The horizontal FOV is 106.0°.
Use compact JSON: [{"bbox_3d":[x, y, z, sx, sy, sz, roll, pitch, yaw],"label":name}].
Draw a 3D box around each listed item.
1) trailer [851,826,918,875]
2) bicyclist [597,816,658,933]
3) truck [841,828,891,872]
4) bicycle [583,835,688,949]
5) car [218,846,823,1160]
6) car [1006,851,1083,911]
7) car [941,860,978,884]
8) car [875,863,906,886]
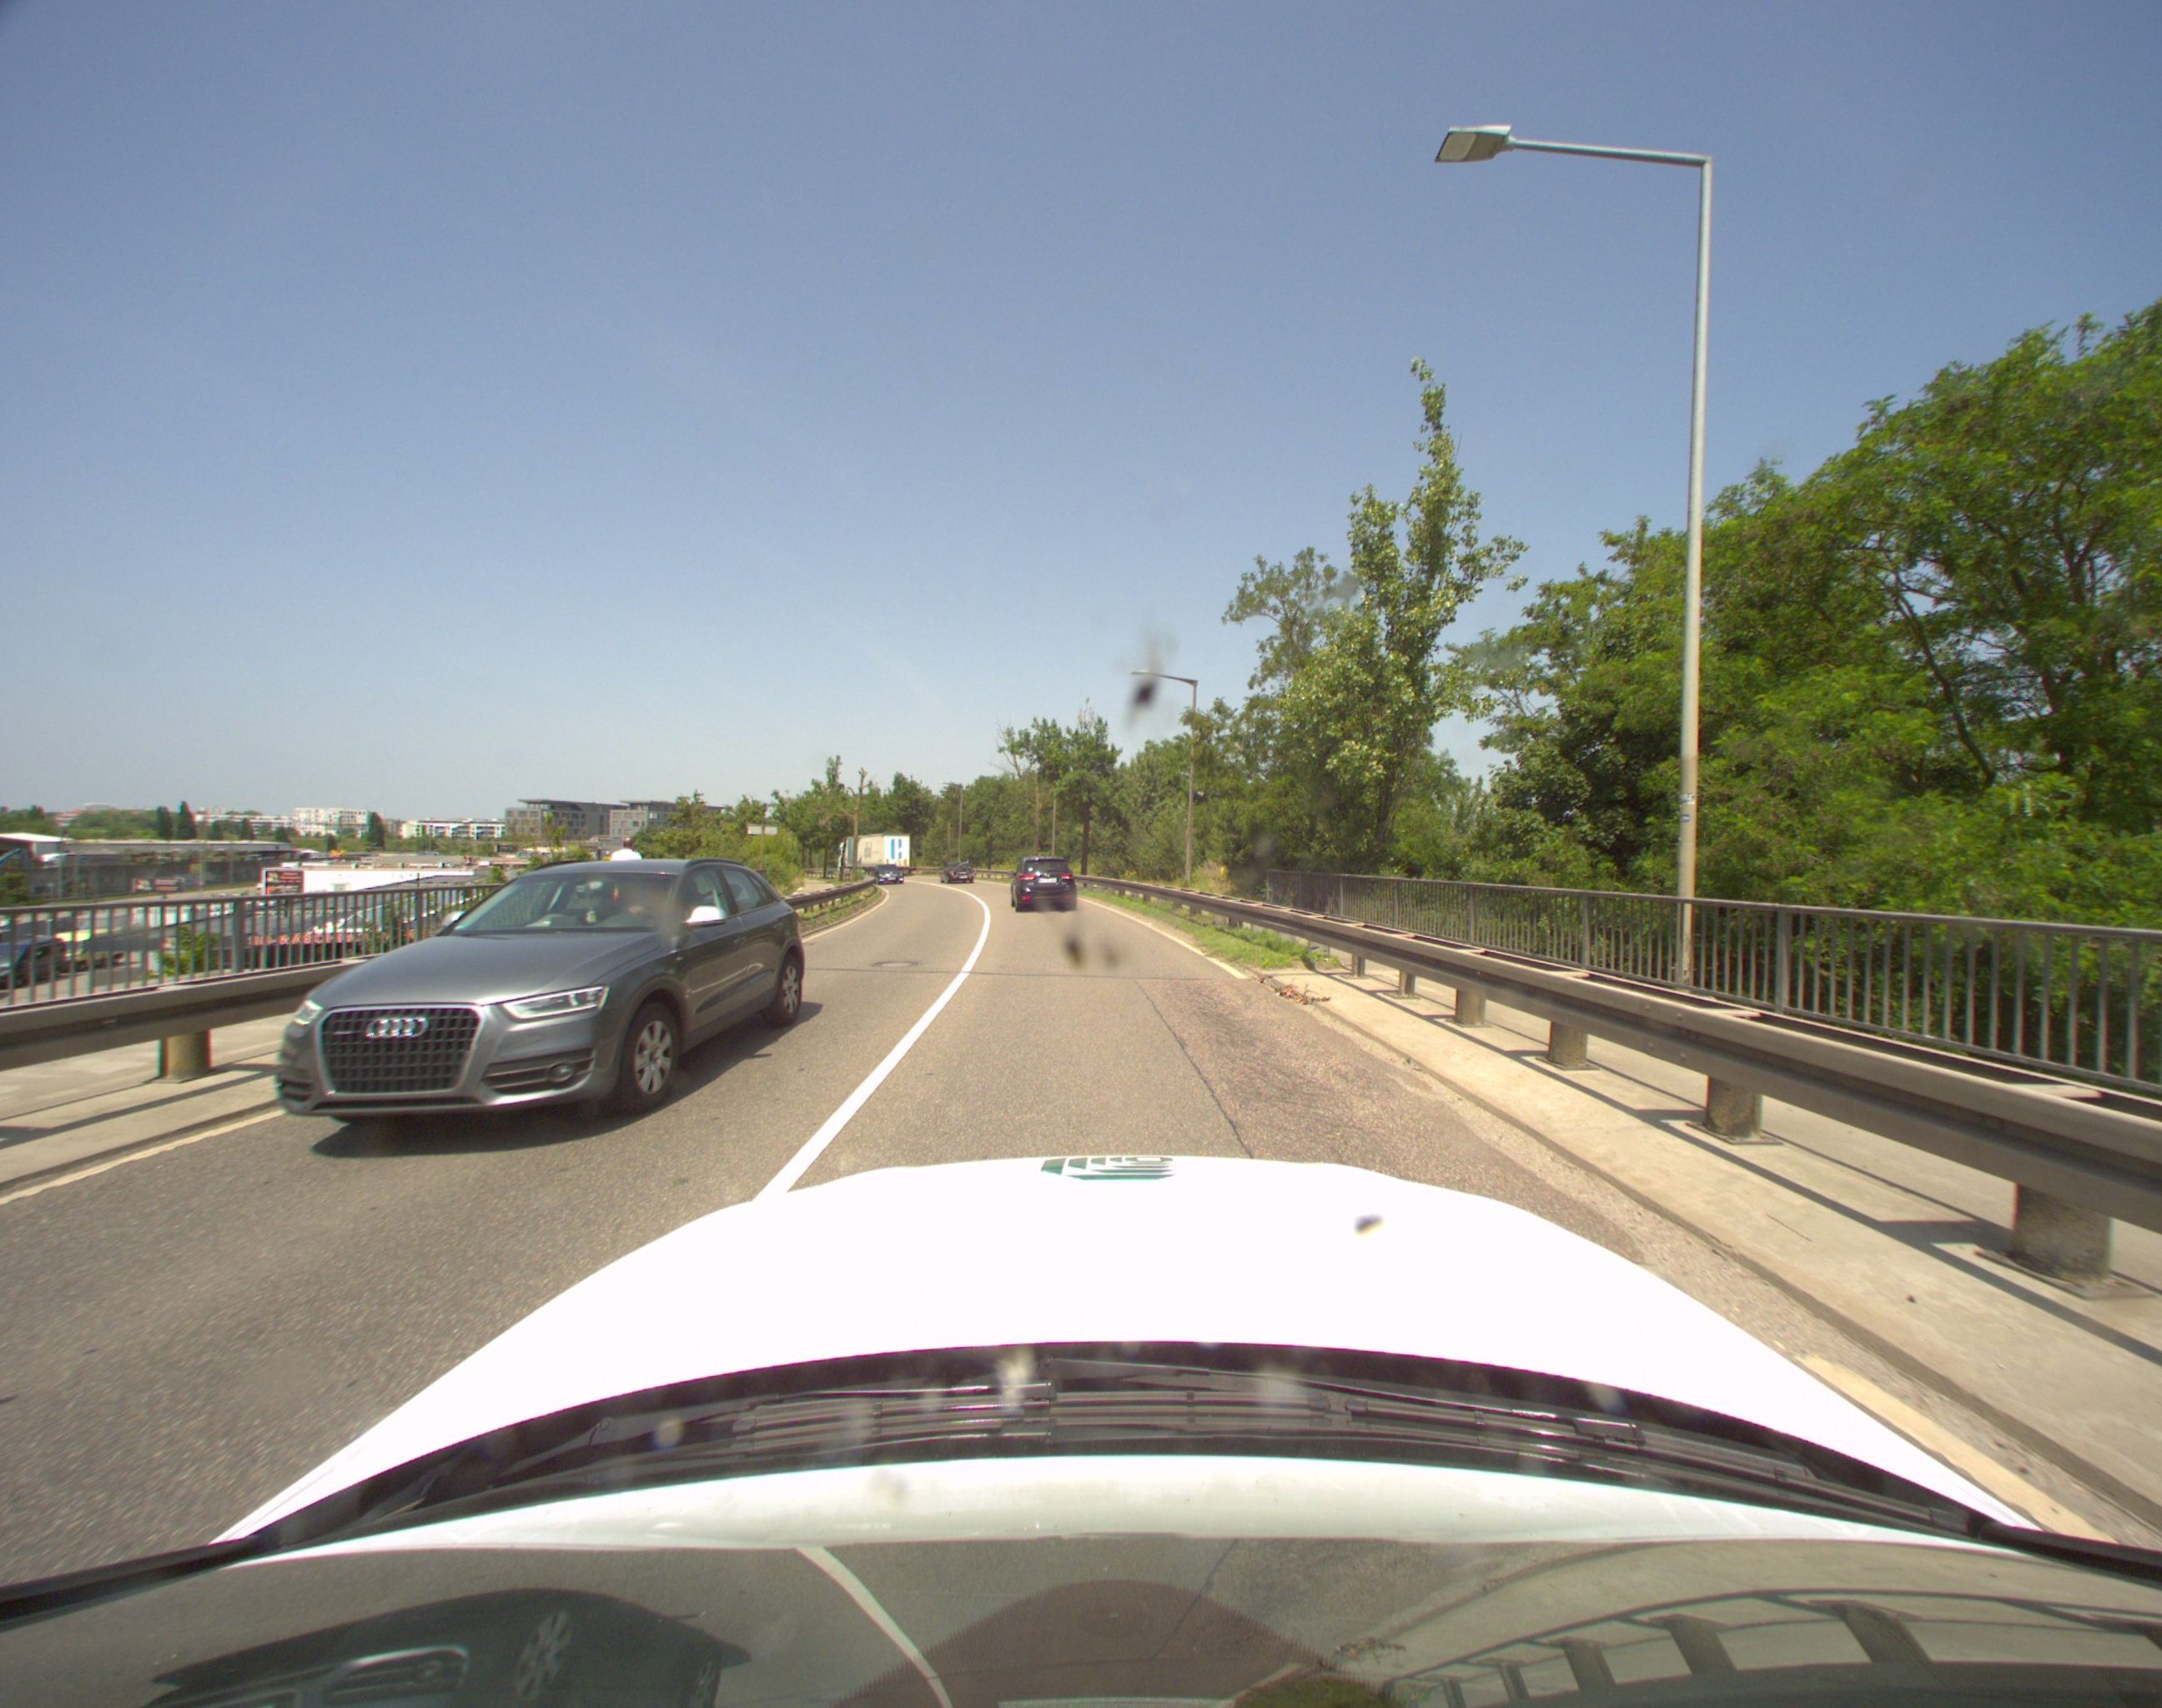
[{"bbox_3d":[-19.417,-0.406,79.854,3.591,4.383,11.336,-1,1,-28],"label":"trailer"},{"bbox_3d":[-7.516,0.318,13.521,0.623,1.886,0.711,0,1,-4],"label":"bicyclist"},{"bbox_3d":[-22.707,-0.478,85.686,3.594,4.440,6.454,-1,1,-29],"label":"truck"},{"bbox_3d":[-7.547,0.582,13.937,0.696,1.801,2.178,0,1,-4],"label":"bicycle"},{"bbox_3d":[-3.486,0.731,6.229,1.818,1.537,4.192,0,1,-2],"label":"car"},{"bbox_3d":[-1.169,0.733,24.507,1.921,1.574,3.880,-1,1,-9],"label":"car"},{"bbox_3d":[-8.027,1.179,53.684,2.015,1.429,3.758,-1,1,-15],"label":"car"},{"bbox_3d":[-13.329,1.395,56.858,1.682,1.443,4.101,-1,0,-20],"label":"car"}]
